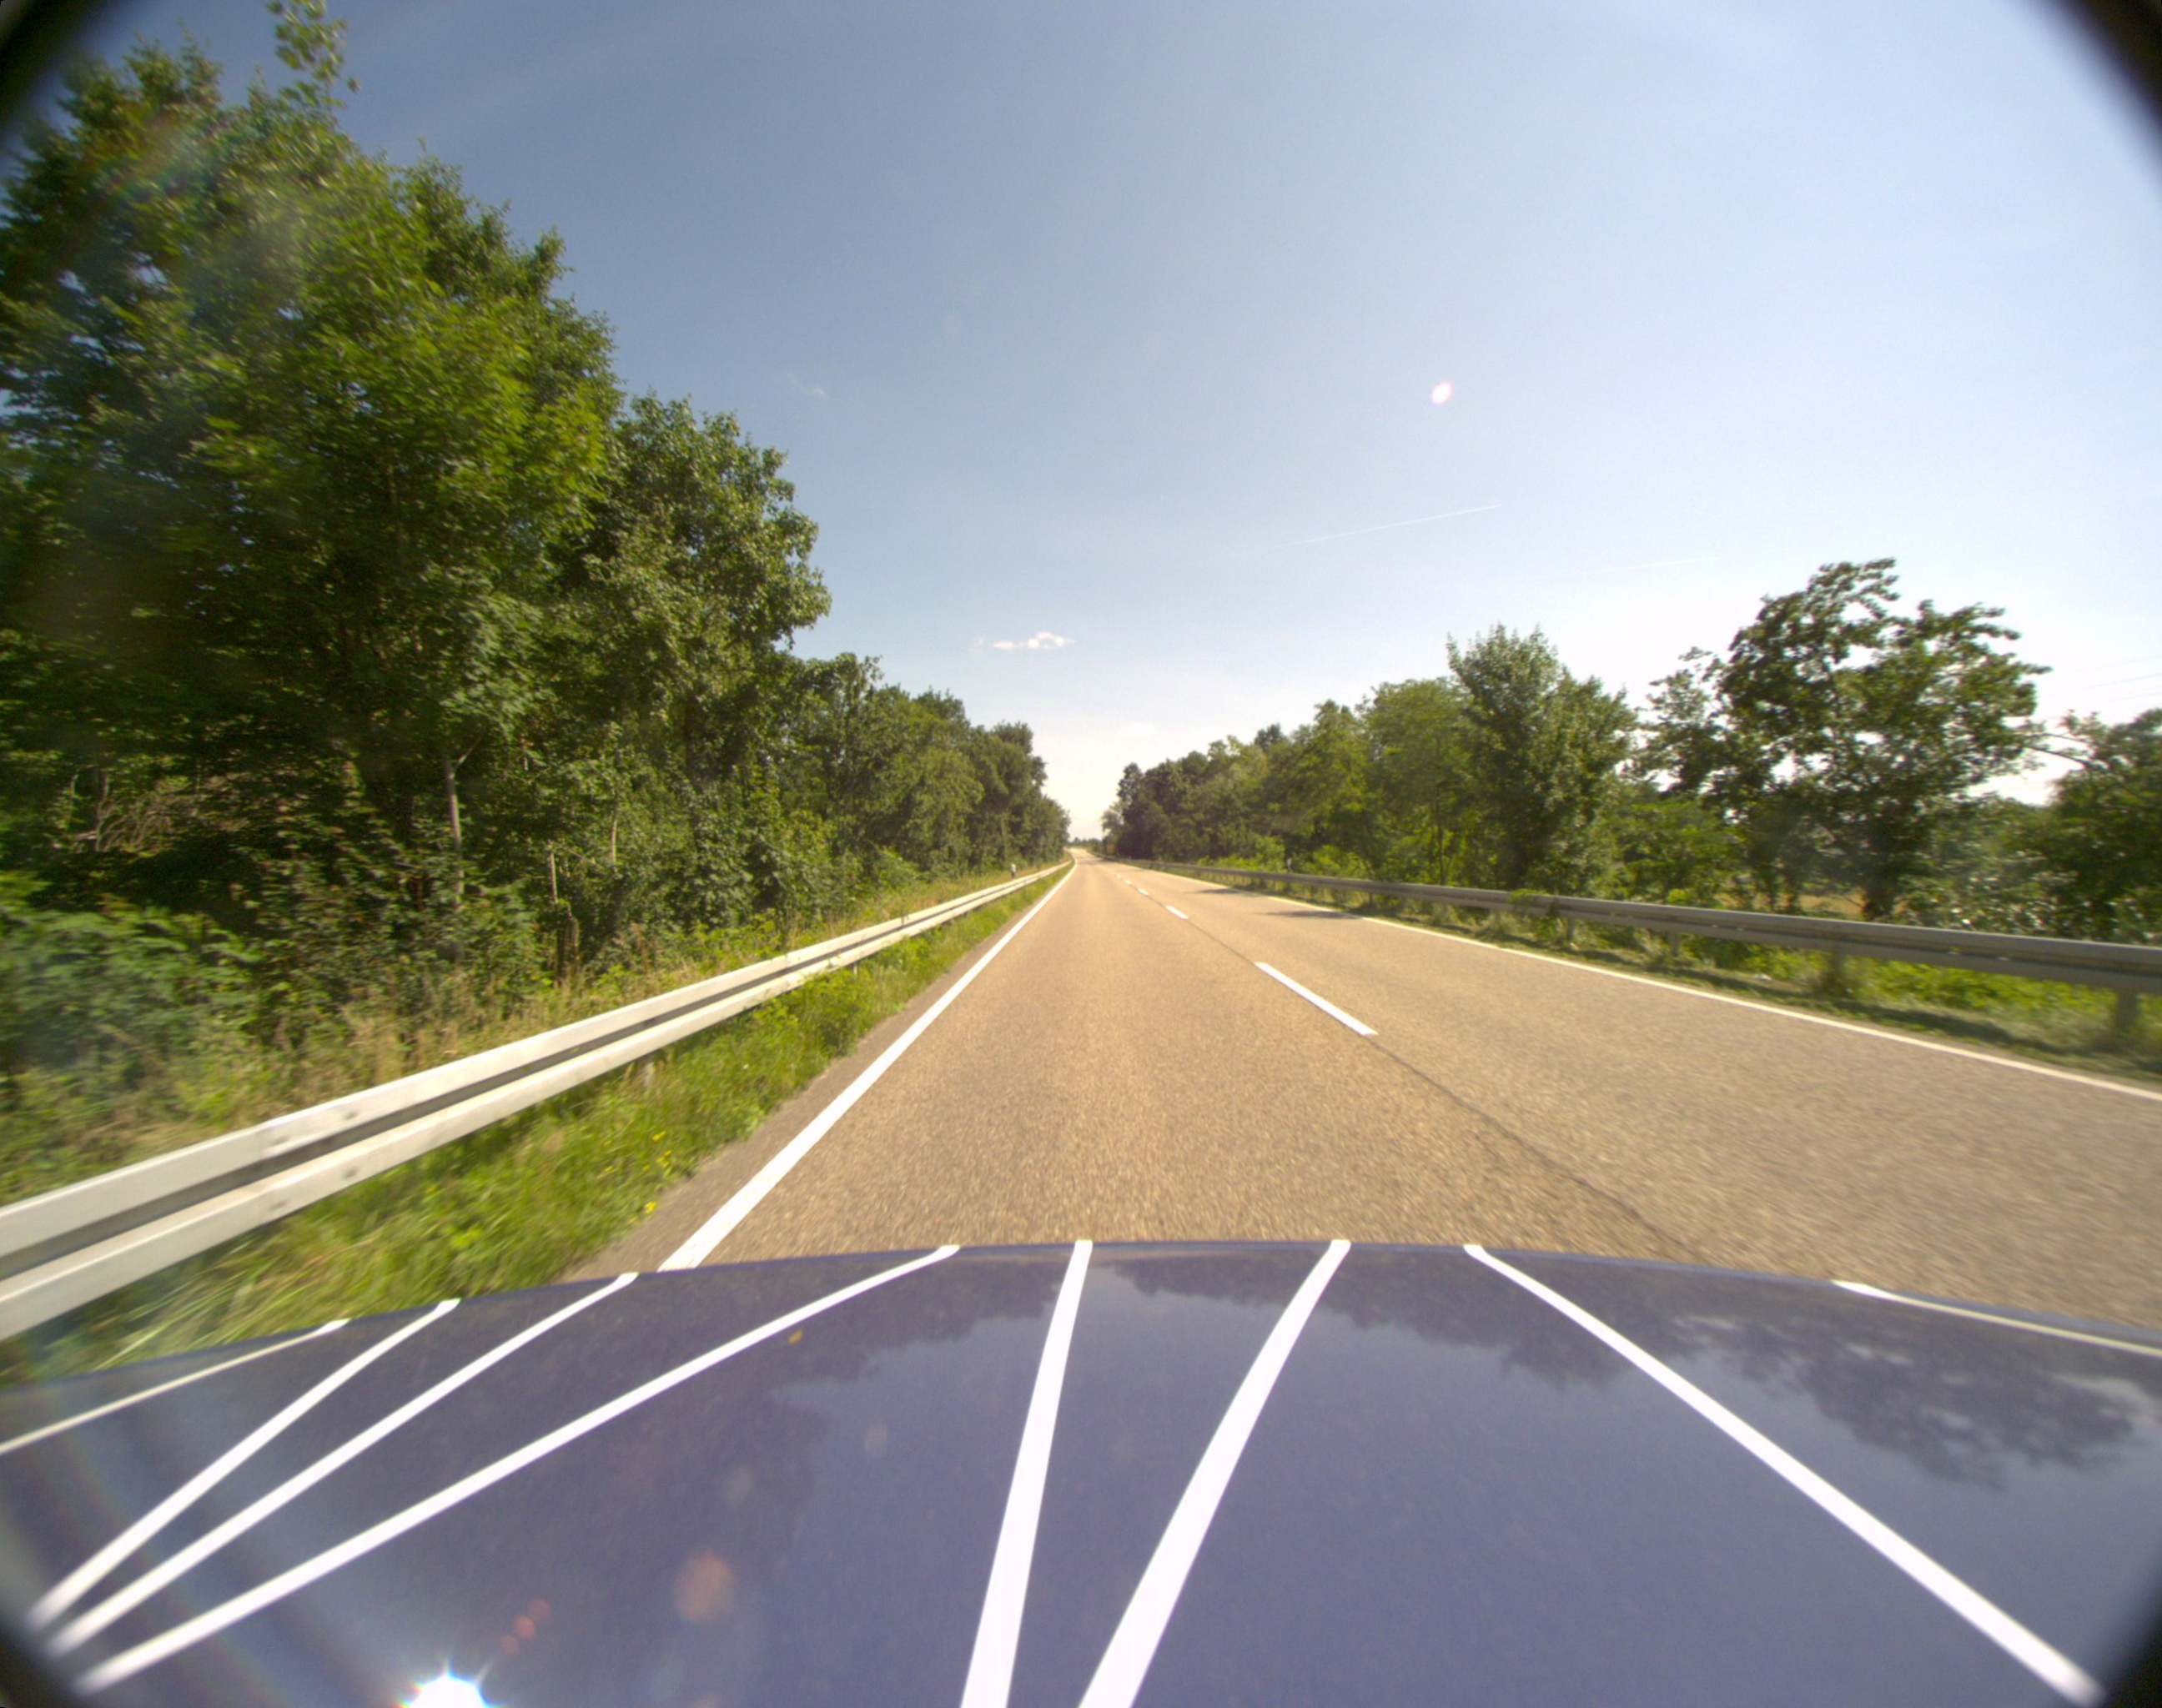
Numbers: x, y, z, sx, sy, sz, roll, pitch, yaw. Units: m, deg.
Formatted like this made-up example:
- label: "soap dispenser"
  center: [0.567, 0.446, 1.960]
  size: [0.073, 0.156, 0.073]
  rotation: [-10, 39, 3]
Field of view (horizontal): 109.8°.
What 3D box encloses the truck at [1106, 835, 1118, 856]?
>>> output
- label: "truck"
  center: [9.387, -2.561, 230.556]
  size: [3.067, 5.870, 8.798]
  rotation: [-2, 0, 1]
